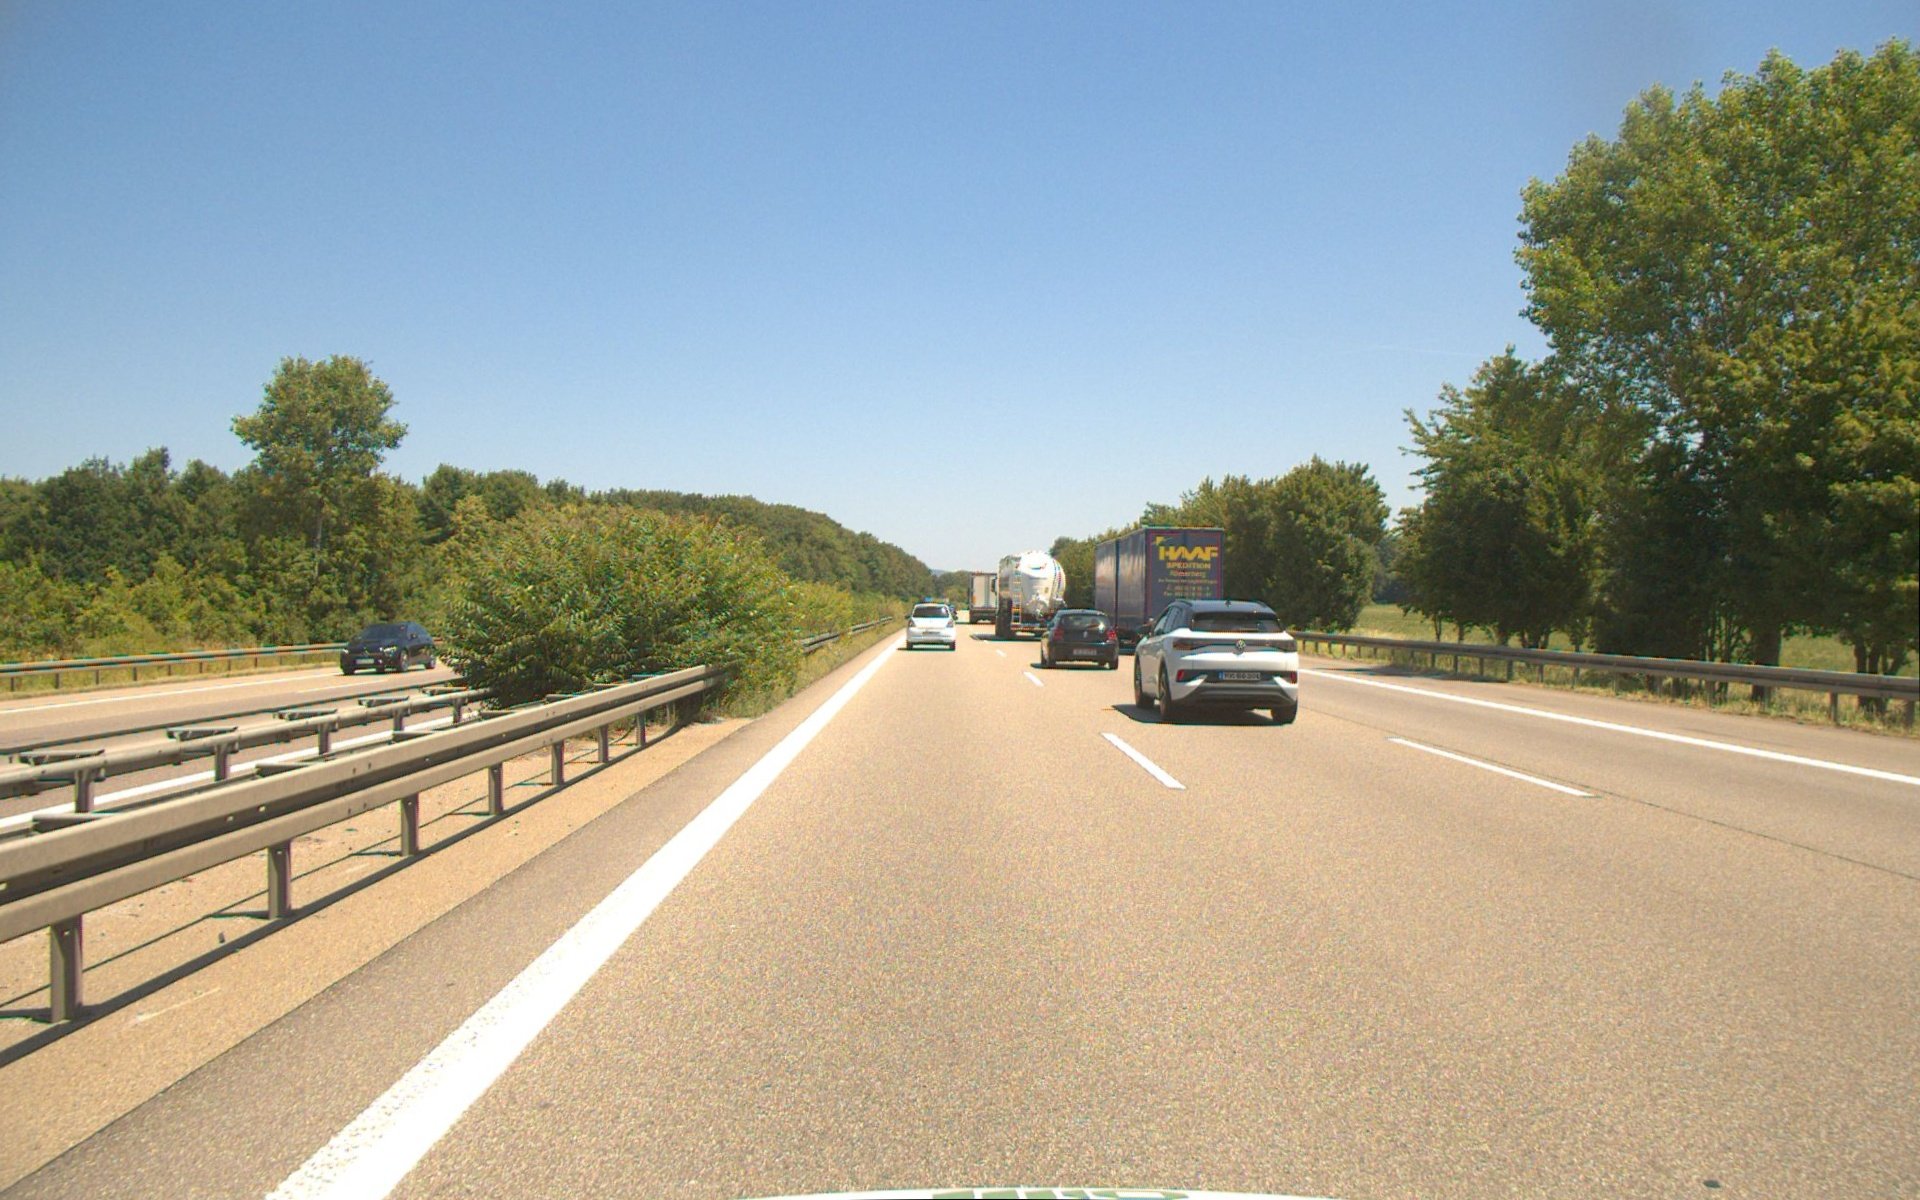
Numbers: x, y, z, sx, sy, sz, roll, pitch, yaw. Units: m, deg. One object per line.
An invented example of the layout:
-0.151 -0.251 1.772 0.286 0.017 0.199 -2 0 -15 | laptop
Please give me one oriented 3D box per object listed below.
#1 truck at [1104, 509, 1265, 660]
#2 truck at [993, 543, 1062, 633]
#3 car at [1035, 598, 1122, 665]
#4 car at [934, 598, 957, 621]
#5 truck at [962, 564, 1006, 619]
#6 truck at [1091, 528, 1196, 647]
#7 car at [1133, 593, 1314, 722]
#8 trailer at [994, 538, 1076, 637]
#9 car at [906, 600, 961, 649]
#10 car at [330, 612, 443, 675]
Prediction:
7.022 -0.444 54.585 3.045 4.211 15.509 1 0 0 | truck
3.223 -0.555 81.000 2.853 4.150 7.193 1 0 -1 | truck
2.928 0.756 41.466 1.813 1.549 3.956 1 0 -1 | car
-1.588 1.042 179.921 2.424 2.395 5.181 1 0 0 | car
1.873 -0.655 136.493 3.325 4.287 12.081 1 0 0 | truck
6.970 -0.453 63.837 3.045 4.211 8.055 1 0 0 | truck
3.624 0.738 23.498 1.766 1.631 4.379 1 0 -1 | car
3.333 -0.533 76.620 2.852 4.140 12.414 1 0 -1 | trailer
-0.938 0.798 56.060 1.763 1.579 3.608 1 0 -2 | car
-16.965 1.251 49.132 1.885 1.747 4.287 -1 0 -1 | car
